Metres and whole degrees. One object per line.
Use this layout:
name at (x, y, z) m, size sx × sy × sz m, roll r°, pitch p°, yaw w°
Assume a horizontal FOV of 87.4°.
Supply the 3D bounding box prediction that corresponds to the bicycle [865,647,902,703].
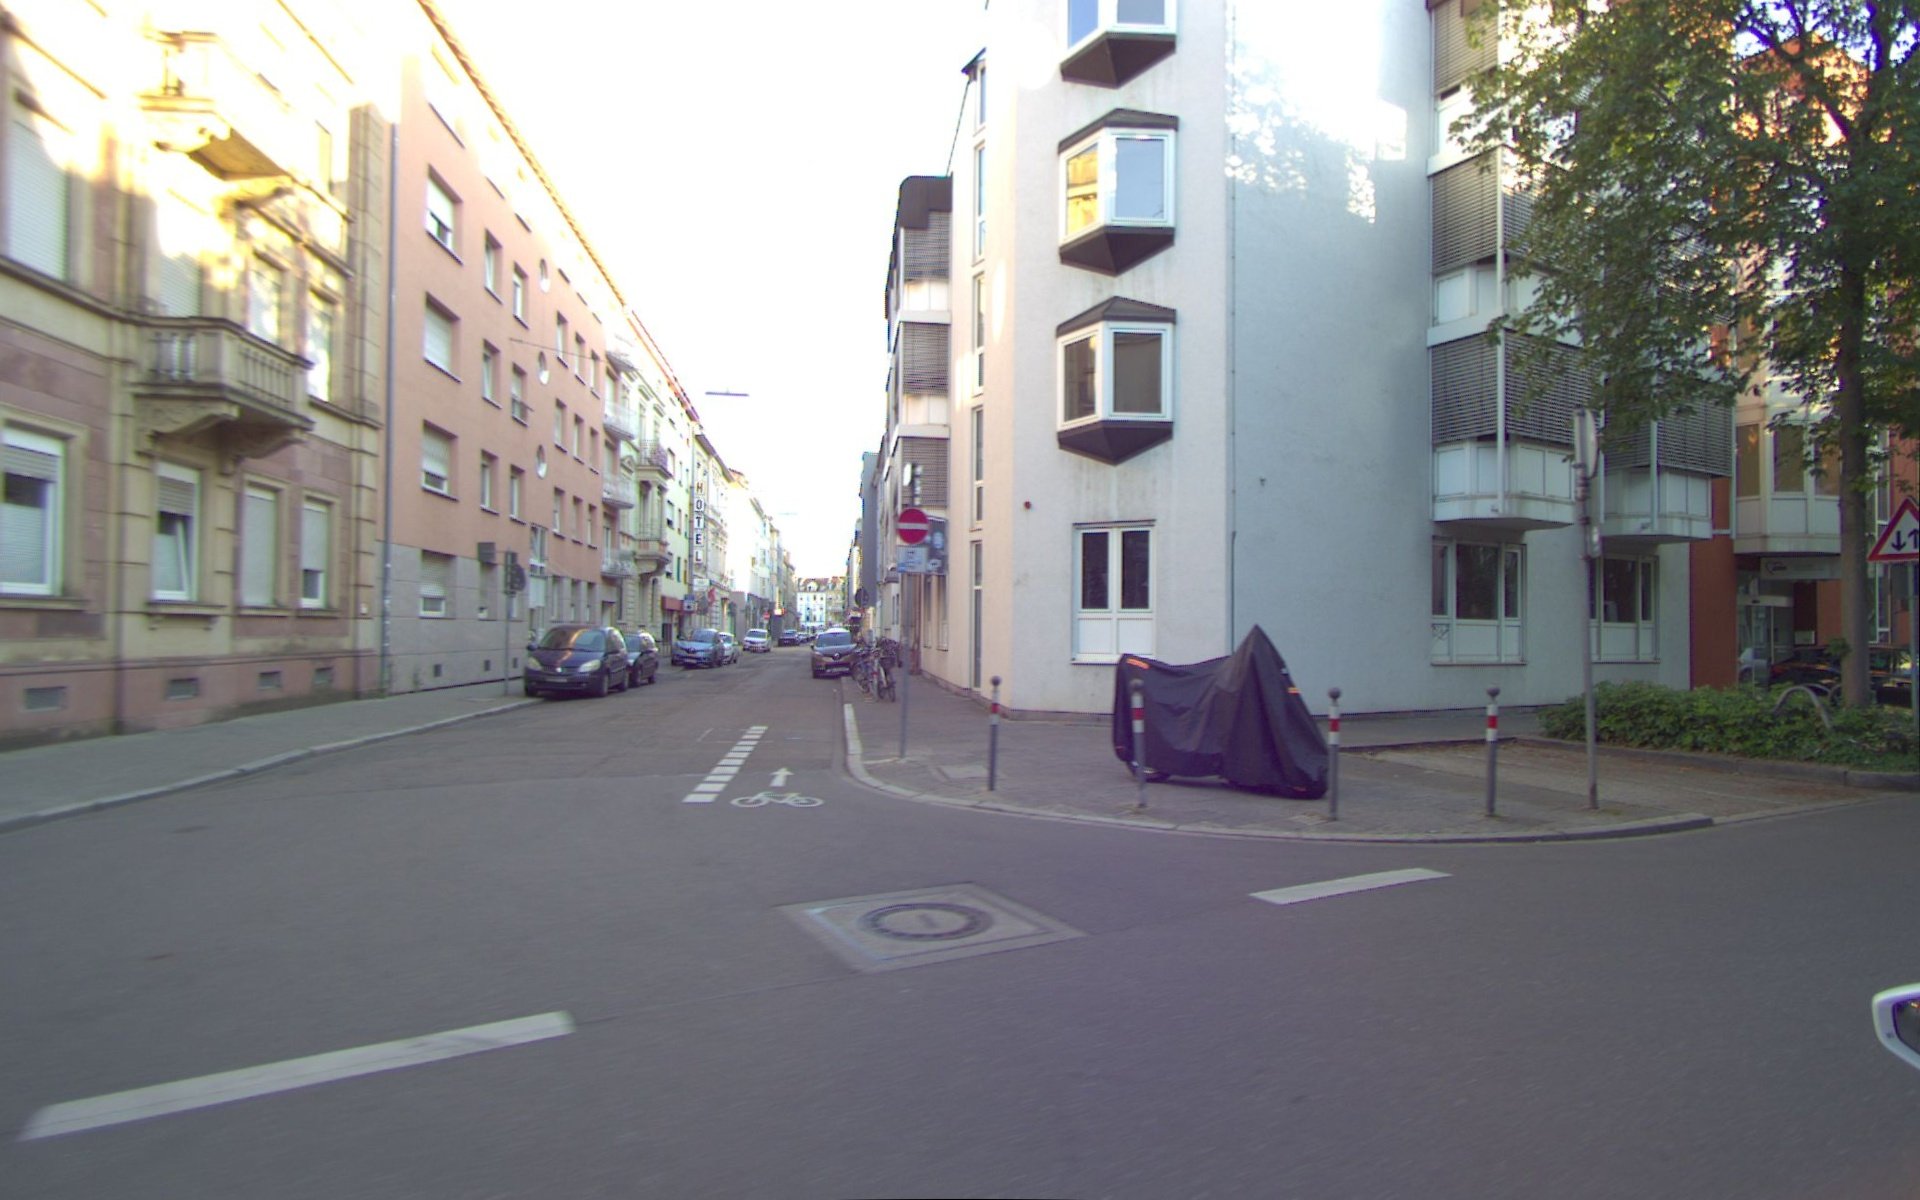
bicycle at (-1.672, 1.591, 21.755) m, size 0.572 × 1.122 × 1.797 m, roll -1°, pitch -2°, yaw -11°

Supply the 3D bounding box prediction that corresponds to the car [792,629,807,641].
car at (-21.101, 4.607, 132.224) m, size 1.767 × 1.530 × 4.142 m, roll 4°, pitch -2°, yaw -7°

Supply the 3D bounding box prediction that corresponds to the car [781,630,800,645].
car at (-18.265, 4.062, 108.627) m, size 1.767 × 1.530 × 4.142 m, roll 4°, pitch -2°, yaw -7°

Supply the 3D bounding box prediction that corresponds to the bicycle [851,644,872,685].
bicycle at (-2.829, 1.830, 28.933) m, size 0.574 × 1.122 × 1.799 m, roll -1°, pitch -2°, yaw -5°

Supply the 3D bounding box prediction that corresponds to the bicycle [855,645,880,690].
bicycle at (-2.436, 1.754, 26.491) m, size 0.628 × 1.122 × 1.799 m, roll -1°, pitch -2°, yaw -5°

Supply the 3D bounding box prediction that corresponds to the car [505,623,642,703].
car at (-8.920, 1.411, 23.597) m, size 1.963 × 1.612 × 4.142 m, roll 4°, pitch -2°, yaw -7°

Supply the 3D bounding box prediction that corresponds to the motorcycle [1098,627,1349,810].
motorcycle at (2.452, 1.032, 9.555) m, size 2.184 × 1.501 × 0.854 m, roll 0°, pitch 0°, yaw 43°

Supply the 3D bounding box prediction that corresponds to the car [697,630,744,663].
car at (-12.128, 2.327, 50.997) m, size 1.792 × 1.508 × 4.142 m, roll 4°, pitch -2°, yaw -7°

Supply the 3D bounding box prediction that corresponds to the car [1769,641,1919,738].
car at (16.343, 1.507, 16.714) m, size 1.906 × 1.506 × 4.108 m, roll 2°, pitch -1°, yaw -30°

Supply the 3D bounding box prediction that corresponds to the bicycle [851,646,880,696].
bicycle at (-2.248, 1.666, 23.830) m, size 0.491 × 1.122 × 1.797 m, roll -1°, pitch -2°, yaw -11°

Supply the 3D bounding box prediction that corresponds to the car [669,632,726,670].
car at (-11.365, 2.186, 43.688) m, size 1.865 × 1.435 × 3.685 m, roll 4°, pitch -2°, yaw -7°

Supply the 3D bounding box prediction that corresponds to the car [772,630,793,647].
car at (-17.852, 3.891, 101.137) m, size 1.767 × 1.530 × 4.142 m, roll 4°, pitch -2°, yaw -7°

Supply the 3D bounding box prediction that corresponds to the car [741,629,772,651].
car at (-15.255, 2.987, 75.508) m, size 1.898 × 1.502 × 4.142 m, roll 4°, pitch -2°, yaw -7°

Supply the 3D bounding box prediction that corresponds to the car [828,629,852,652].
car at (-9.264, 3.084, 77.608) m, size 1.787 × 1.705 × 4.142 m, roll 1°, pitch -2°, yaw -7°

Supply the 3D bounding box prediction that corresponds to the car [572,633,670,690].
car at (-9.558, 1.705, 28.640) m, size 1.804 × 1.365 × 4.005 m, roll 4°, pitch -2°, yaw -7°

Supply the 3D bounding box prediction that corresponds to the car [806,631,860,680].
car at (-4.526, 1.934, 35.855) m, size 1.767 × 1.559 × 4.142 m, roll 2°, pitch -2°, yaw -7°

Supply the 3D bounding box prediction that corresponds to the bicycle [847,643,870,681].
bicycle at (-3.153, 1.911, 31.350) m, size 0.604 × 1.122 × 1.800 m, roll -1°, pitch -2°, yaw -3°
